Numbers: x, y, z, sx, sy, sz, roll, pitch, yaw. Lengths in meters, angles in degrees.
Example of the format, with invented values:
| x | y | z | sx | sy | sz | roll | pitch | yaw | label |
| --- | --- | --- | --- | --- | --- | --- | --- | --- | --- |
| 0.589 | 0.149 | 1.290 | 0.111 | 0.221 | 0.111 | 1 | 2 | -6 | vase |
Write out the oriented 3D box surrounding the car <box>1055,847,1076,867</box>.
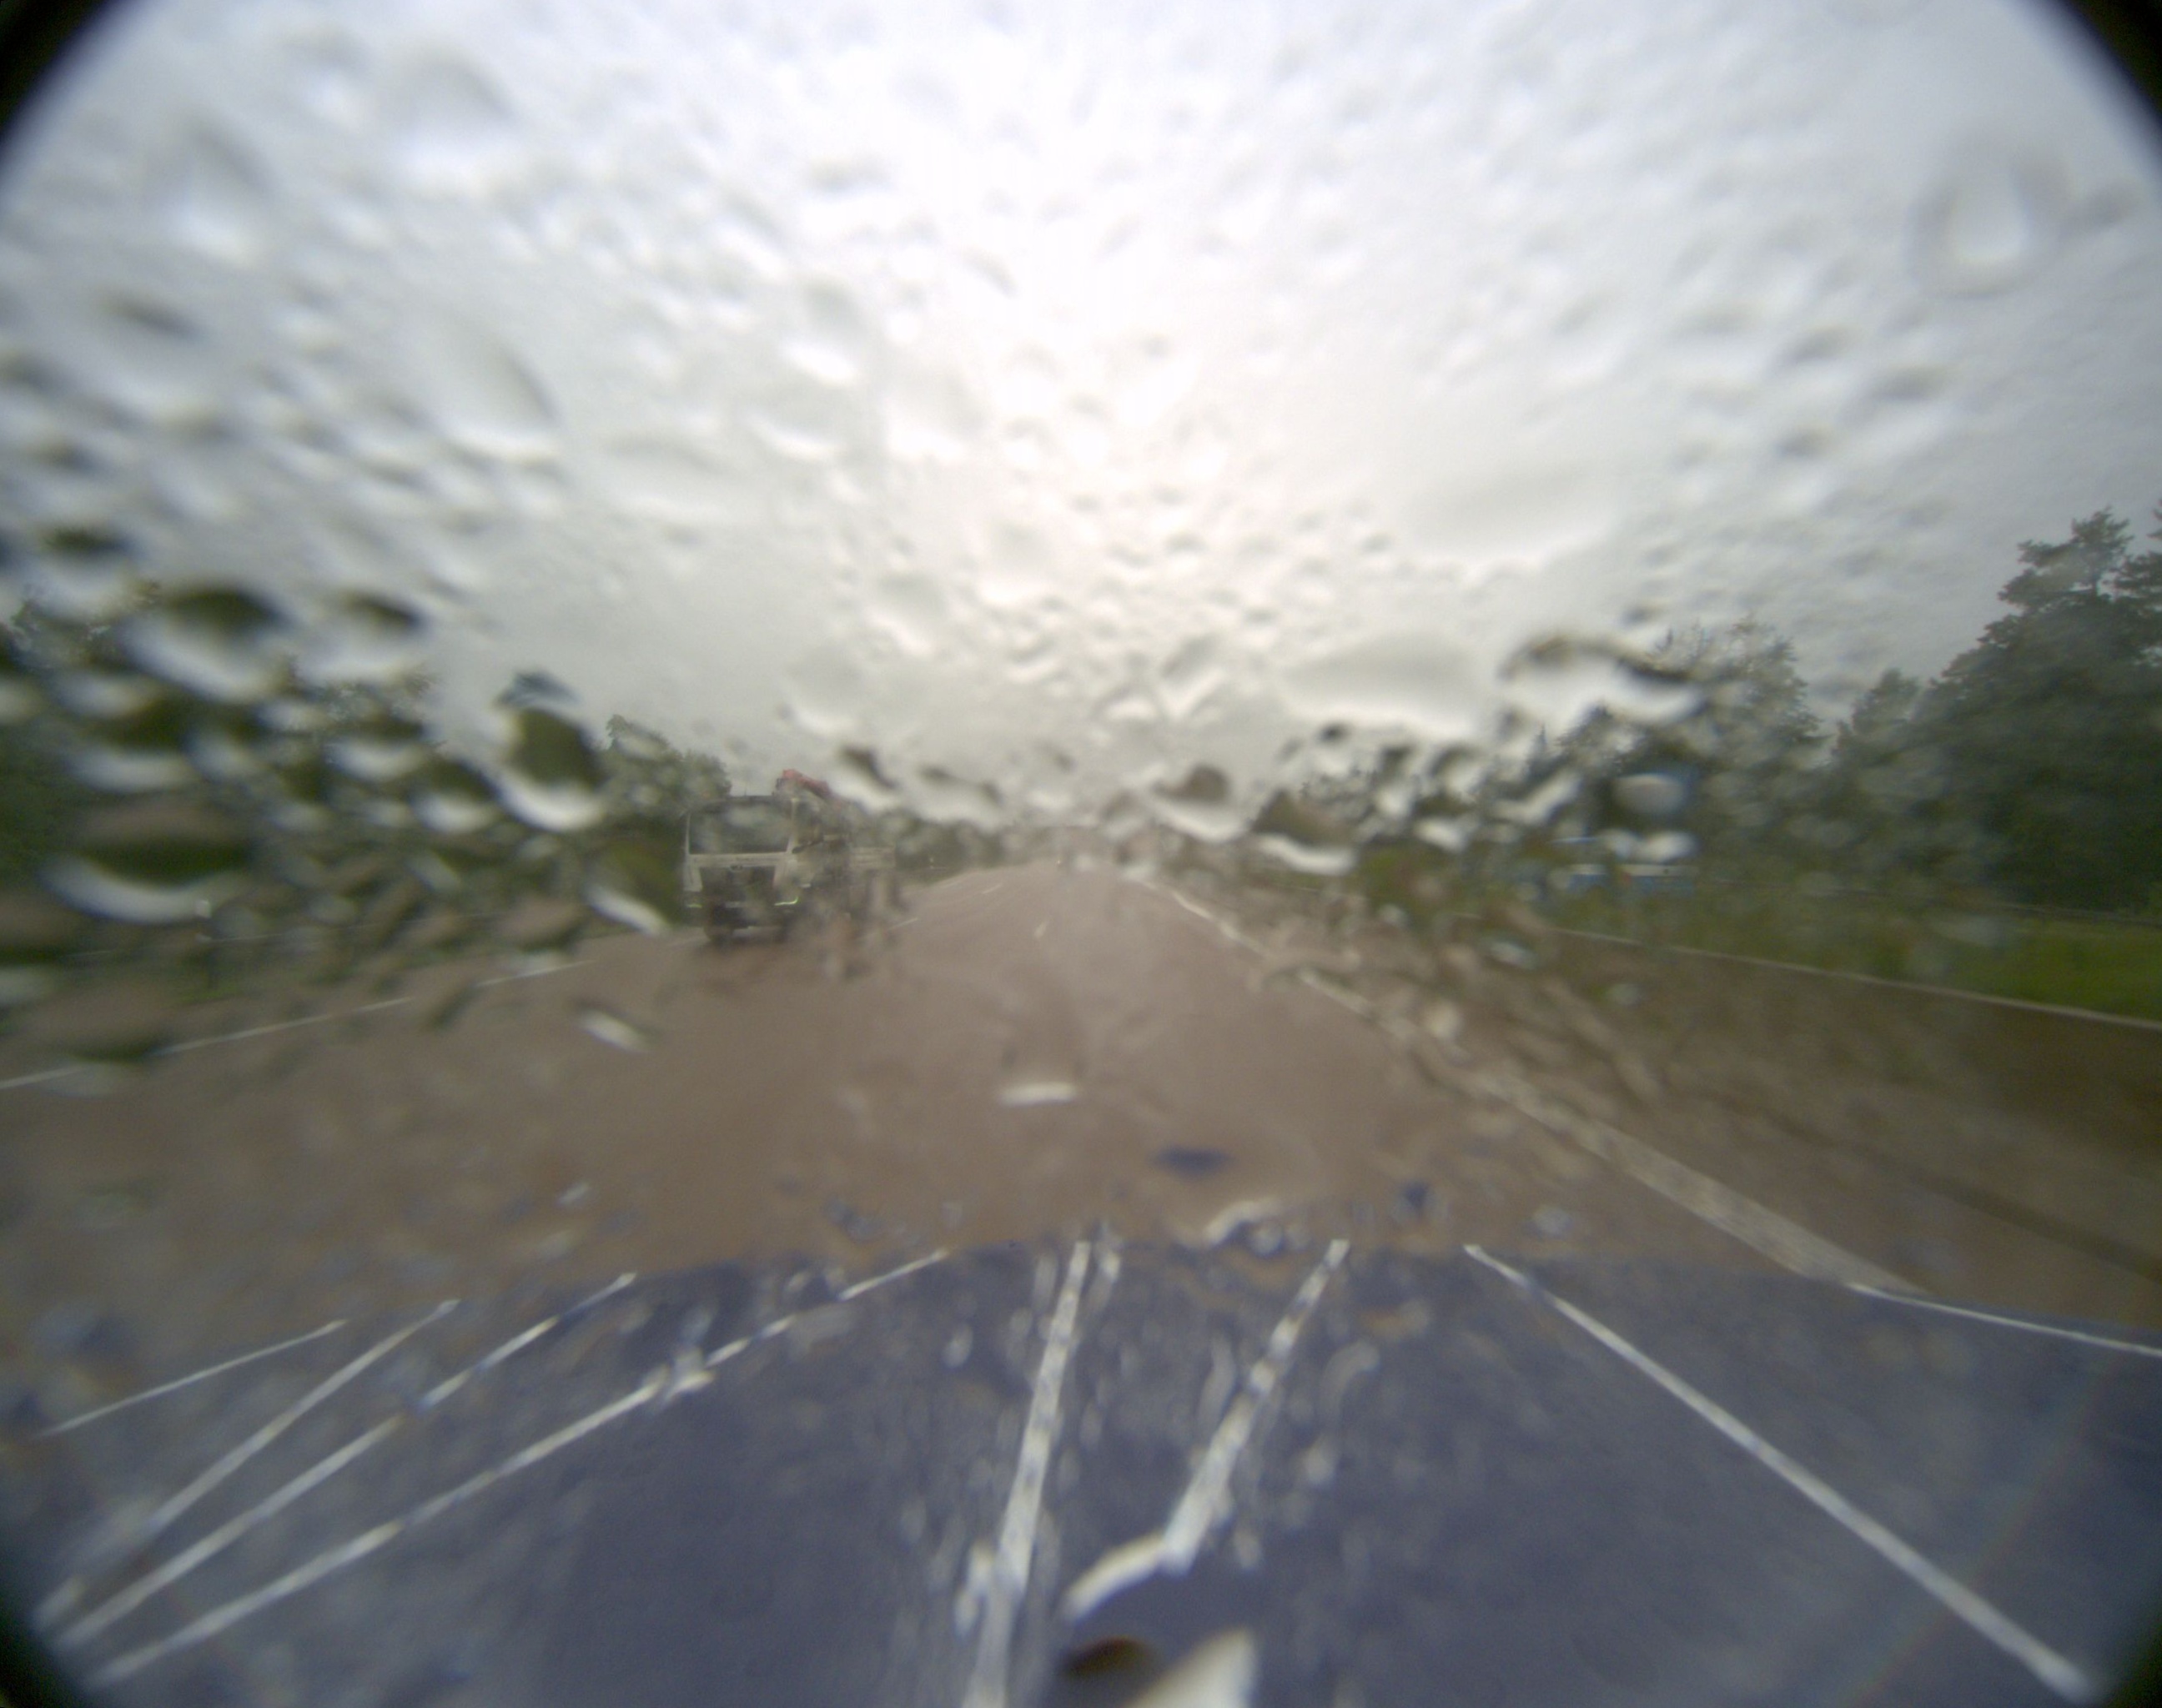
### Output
| x | y | z | sx | sy | sz | roll | pitch | yaw | label |
| --- | --- | --- | --- | --- | --- | --- | --- | --- | --- |
| -1.588 | 0.296 | 79.243 | 1.999 | 2.002 | 4.276 | -3 | 1 | 0 | car |

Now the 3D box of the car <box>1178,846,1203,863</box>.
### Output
| x | y | z | sx | sy | sz | roll | pitch | yaw | label |
| --- | --- | --- | --- | --- | --- | --- | --- | --- | --- |
| 13.835 | 0.055 | 96.290 | 2.312 | 2.002 | 5.151 | -2 | 0 | 0 | car |

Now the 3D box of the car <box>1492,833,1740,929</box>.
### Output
| x | y | z | sx | sy | sz | roll | pitch | yaw | label |
| --- | --- | --- | --- | --- | --- | --- | --- | --- | --- |
| 13.185 | 0.572 | 19.380 | 2.312 | 2.002 | 5.662 | -2 | 0 | 0 | car |

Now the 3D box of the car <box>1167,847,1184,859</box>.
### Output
| x | y | z | sx | sy | sz | roll | pitch | yaw | label |
| --- | --- | --- | --- | --- | --- | --- | --- | --- | --- |
| 16.433 | -0.271 | 132.268 | 2.312 | 1.966 | 5.755 | -2 | 0 | 0 | car |

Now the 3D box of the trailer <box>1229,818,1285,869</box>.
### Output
| x | y | z | sx | sy | sz | roll | pitch | yaw | label |
| --- | --- | --- | --- | --- | --- | --- | --- | --- | --- |
| 18.780 | -1.127 | 82.292 | 3.763 | 4.924 | 13.684 | -2 | 0 | 4 | trailer |

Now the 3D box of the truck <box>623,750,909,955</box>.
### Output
| x | y | z | sx | sy | sz | roll | pitch | yaw | label |
| --- | --- | --- | --- | --- | --- | --- | --- | --- | --- |
| -6.760 | -0.053 | 18.128 | 3.242 | 3.708 | 7.954 | -2 | 0 | 1 | truck |

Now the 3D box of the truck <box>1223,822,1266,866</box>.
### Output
| x | y | z | sx | sy | sz | roll | pitch | yaw | label |
| --- | --- | --- | --- | --- | --- | --- | --- | --- | --- |
| 18.899 | -1.171 | 88.448 | 3.688 | 4.843 | 7.255 | -2 | 1 | 3 | truck |
